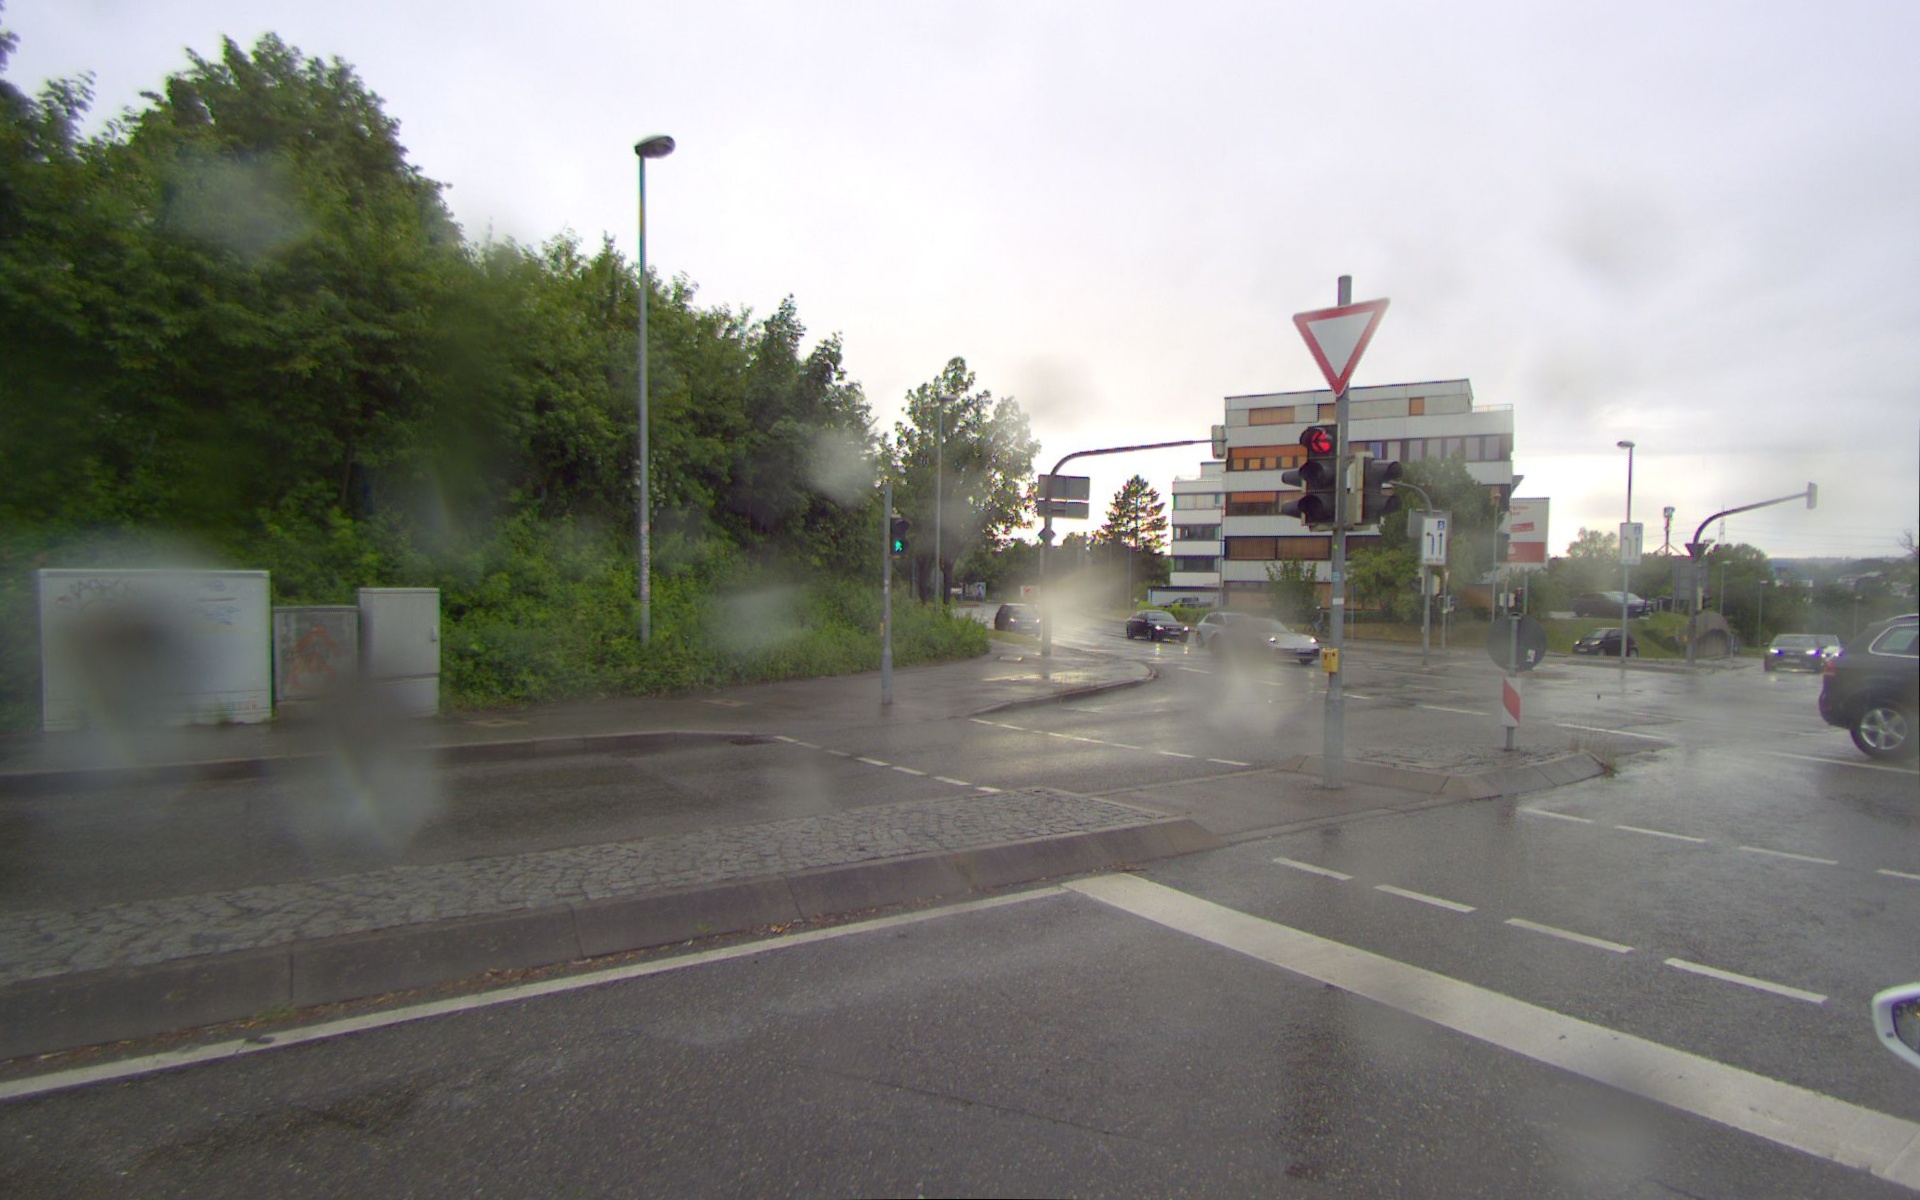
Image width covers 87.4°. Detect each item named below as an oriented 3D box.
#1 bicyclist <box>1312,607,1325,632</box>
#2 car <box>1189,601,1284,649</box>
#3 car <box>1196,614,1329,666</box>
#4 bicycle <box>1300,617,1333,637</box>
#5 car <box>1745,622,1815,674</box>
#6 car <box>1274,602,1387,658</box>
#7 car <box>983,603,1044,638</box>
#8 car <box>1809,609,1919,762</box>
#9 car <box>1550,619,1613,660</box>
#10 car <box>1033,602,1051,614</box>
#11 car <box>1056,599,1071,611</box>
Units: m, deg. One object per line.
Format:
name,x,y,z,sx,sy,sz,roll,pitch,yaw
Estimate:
bicyclist,21.031,1.134,58.858,0.537,1.465,0.601,1,0,39
car,10.788,0.952,39.516,1.965,1.706,3.990,1,1,-12
car,9.343,1.205,31.440,1.827,1.377,4.430,1,1,-17
bicycle,20.916,1.574,58.951,1.753,1.066,0.607,2,1,39
car,33.327,1.890,40.797,1.971,1.920,3.978,2,1,42
car,13.679,1.062,37.357,1.966,1.865,4.143,1,1,-14
car,2.446,0.920,47.040,1.814,1.534,3.989,1,0,-13
car,12.058,0.965,10.497,1.967,1.725,4.597,1,-1,-15
car,31.607,1.963,51.061,1.972,1.920,3.977,2,1,43
car,8.264,0.767,101.602,1.784,1.120,3.517,1,0,4
car,14.501,0.688,141.123,1.918,1.617,4.001,1,1,3
